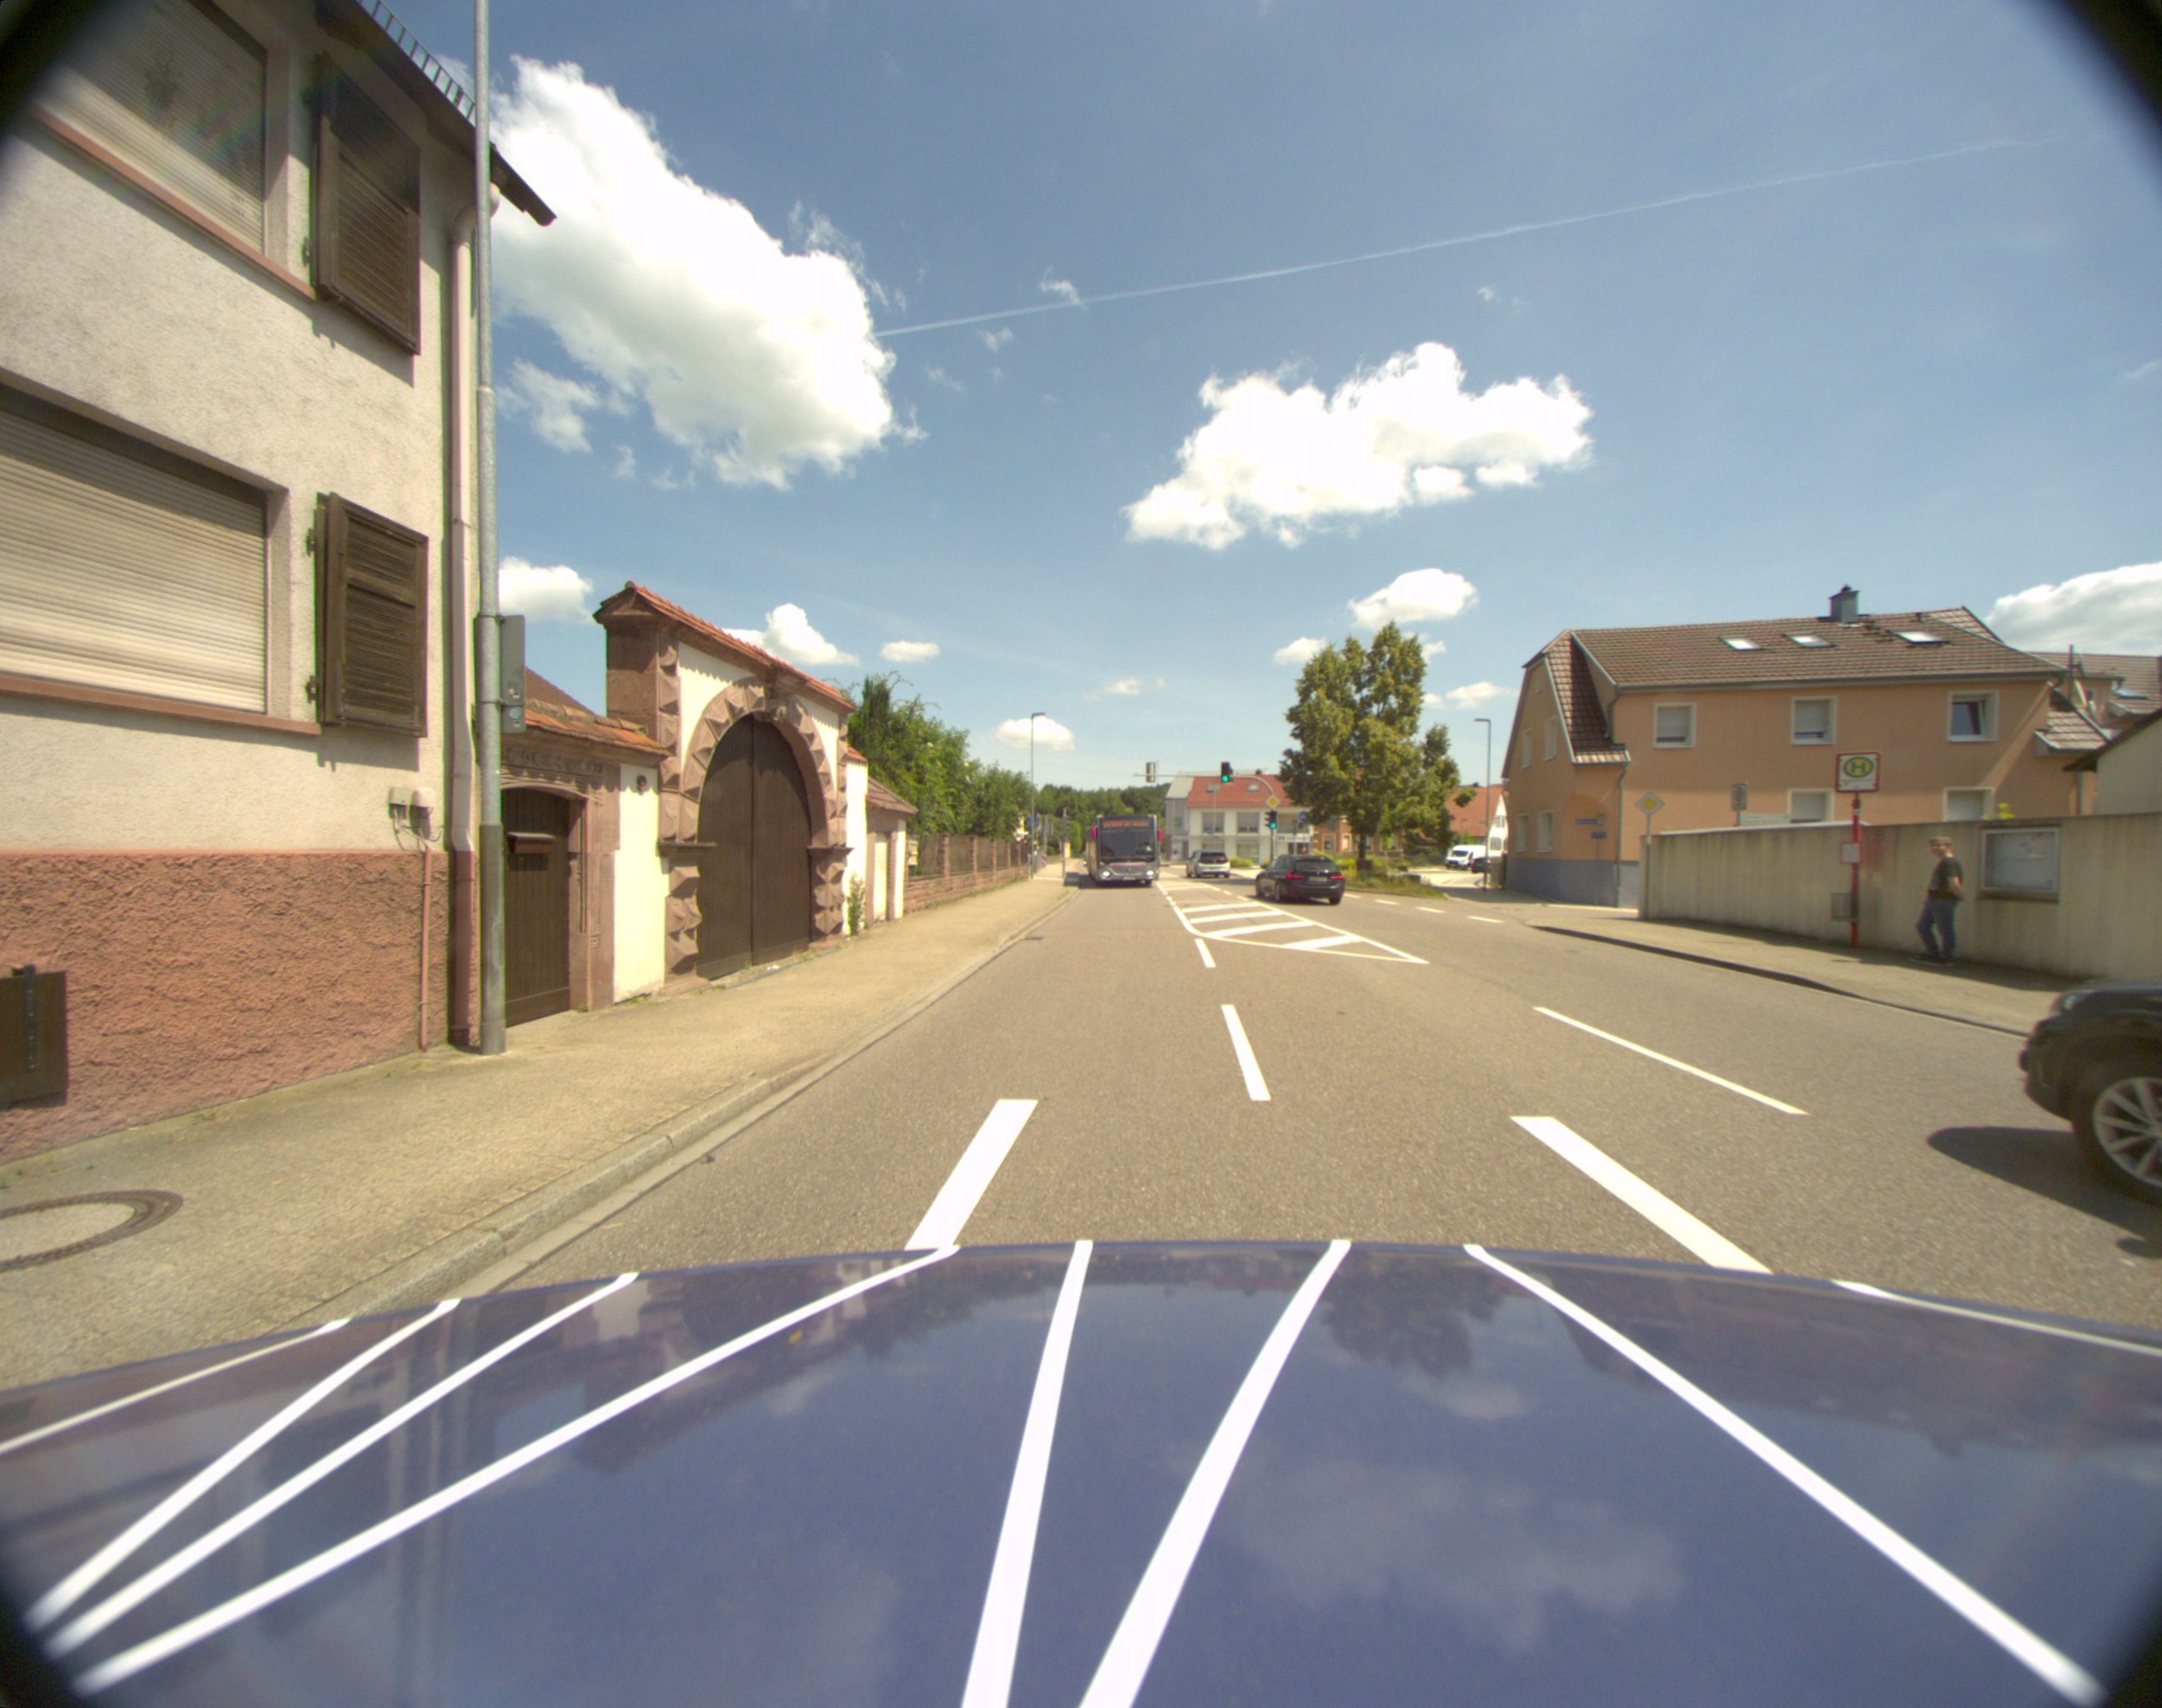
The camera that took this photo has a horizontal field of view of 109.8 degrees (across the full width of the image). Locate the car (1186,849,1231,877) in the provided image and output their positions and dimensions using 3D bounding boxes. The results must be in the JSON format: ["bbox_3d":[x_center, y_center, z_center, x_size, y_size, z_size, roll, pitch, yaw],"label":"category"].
[{"bbox_3d":[6.852,0.441,41.142,1.784,1.448,4.531,0,1,1],"label":"car"}]

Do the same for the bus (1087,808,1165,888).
[{"bbox_3d":[1.872,-0.338,39.810,2.859,3.186,19.029,0,1,0],"label":"bus"}]

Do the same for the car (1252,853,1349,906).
[{"bbox_3d":[6.685,0.714,23.627,1.784,1.448,4.531,0,1,1],"label":"car"}]

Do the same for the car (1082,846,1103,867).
[{"bbox_3d":[1.100,0.219,71.260,1.787,1.819,4.352,1,1,2],"label":"car"}]

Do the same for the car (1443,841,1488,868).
[{"bbox_3d":[38.010,0.064,74.980,5.219,2.432,1.995,-3,1,-40],"label":"car"}]

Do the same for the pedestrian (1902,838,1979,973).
[{"bbox_3d":[11.428,0.668,10.109,0.471,1.754,0.478,0,1,-13],"label":"pedestrian"}]

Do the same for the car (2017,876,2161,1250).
[{"bbox_3d":[5.421,0.935,1.760,1.752,1.602,4.001,0,1,6],"label":"car"}]

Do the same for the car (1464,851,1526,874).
[{"bbox_3d":[33.648,0.690,61.836,3.999,1.641,1.999,-2,1,-6],"label":"car"}]
